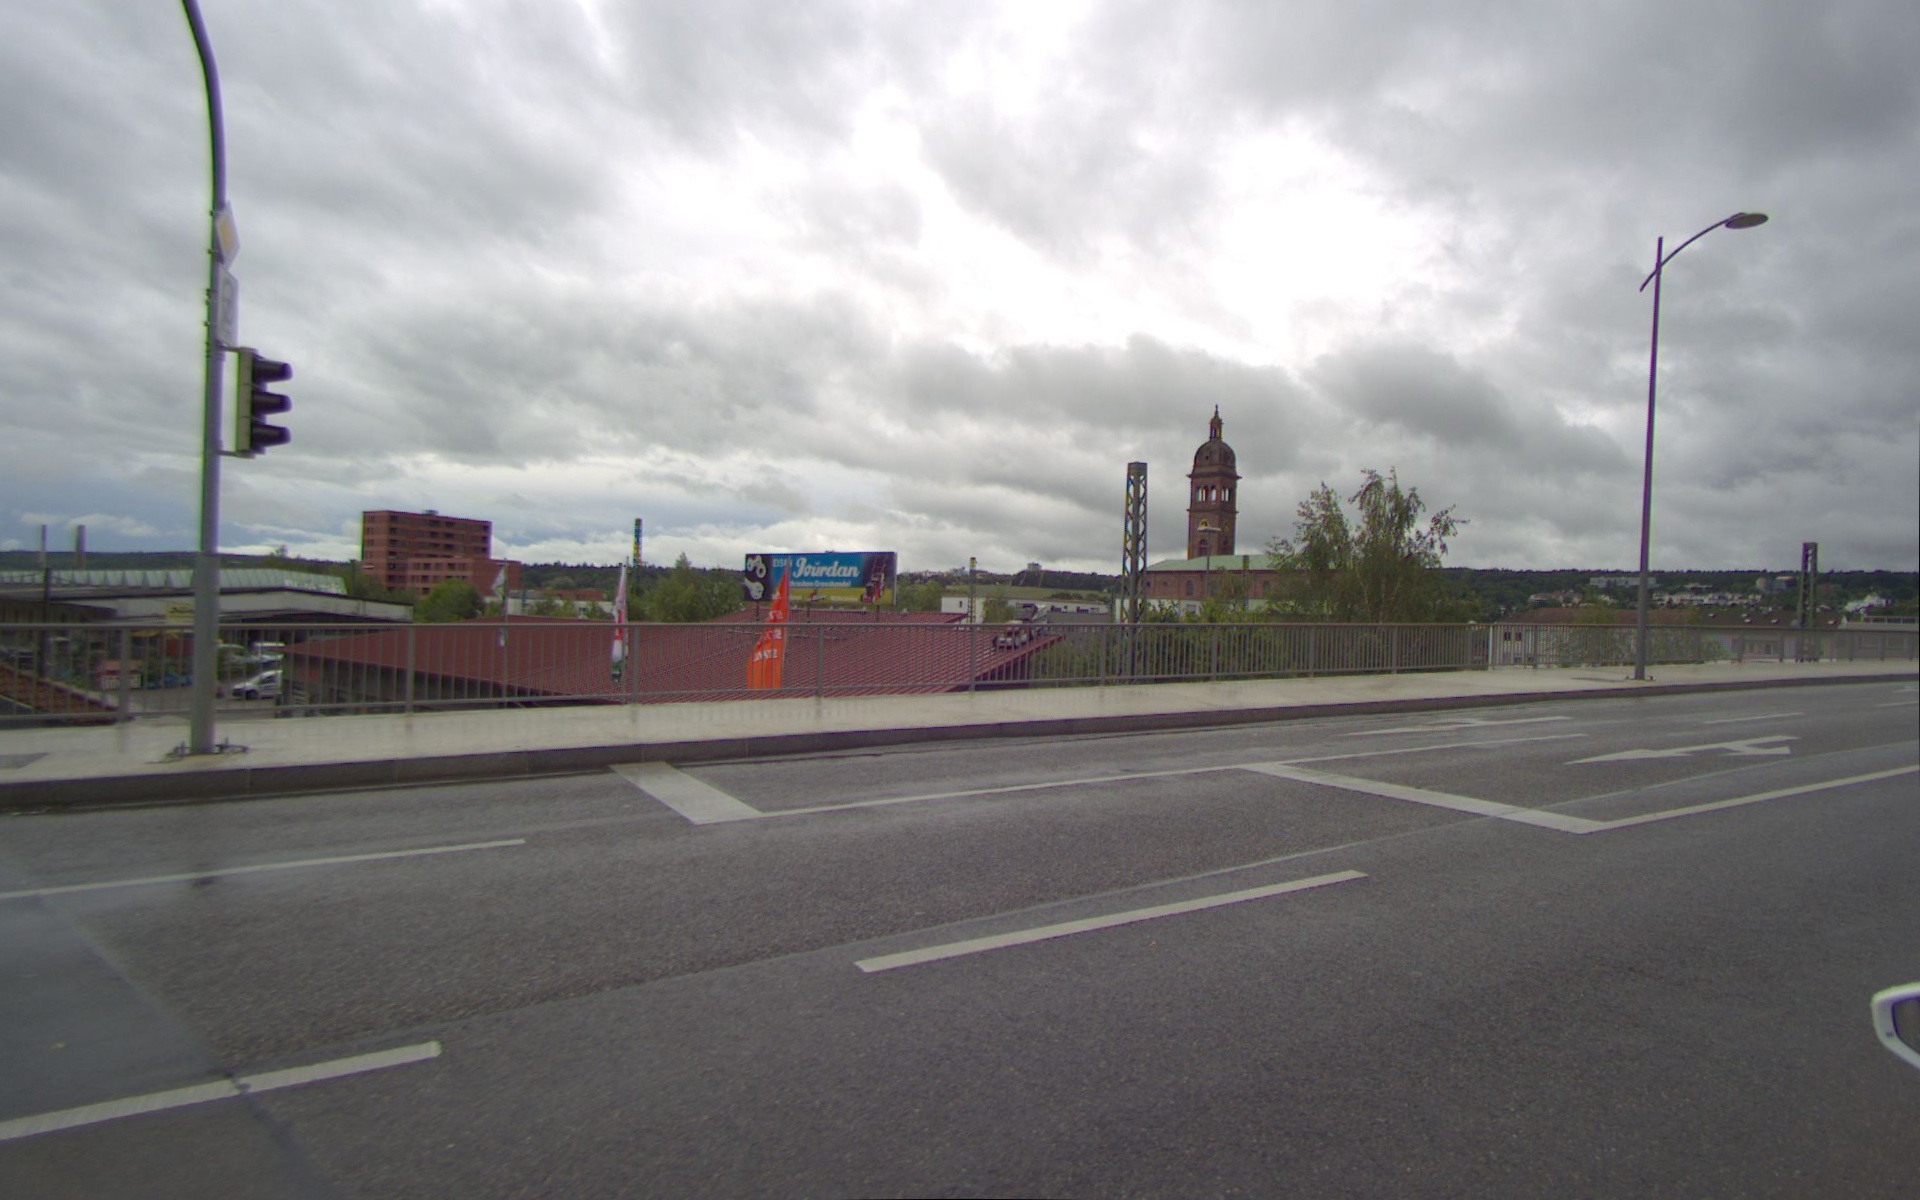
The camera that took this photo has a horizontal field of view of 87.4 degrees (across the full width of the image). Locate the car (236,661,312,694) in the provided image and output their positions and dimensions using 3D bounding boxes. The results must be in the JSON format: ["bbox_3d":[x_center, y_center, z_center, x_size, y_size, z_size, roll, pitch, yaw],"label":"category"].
[{"bbox_3d":[-48.201,5.489,70.618,1.973,2.039,3.977,2,-3,44],"label":"car"}]
